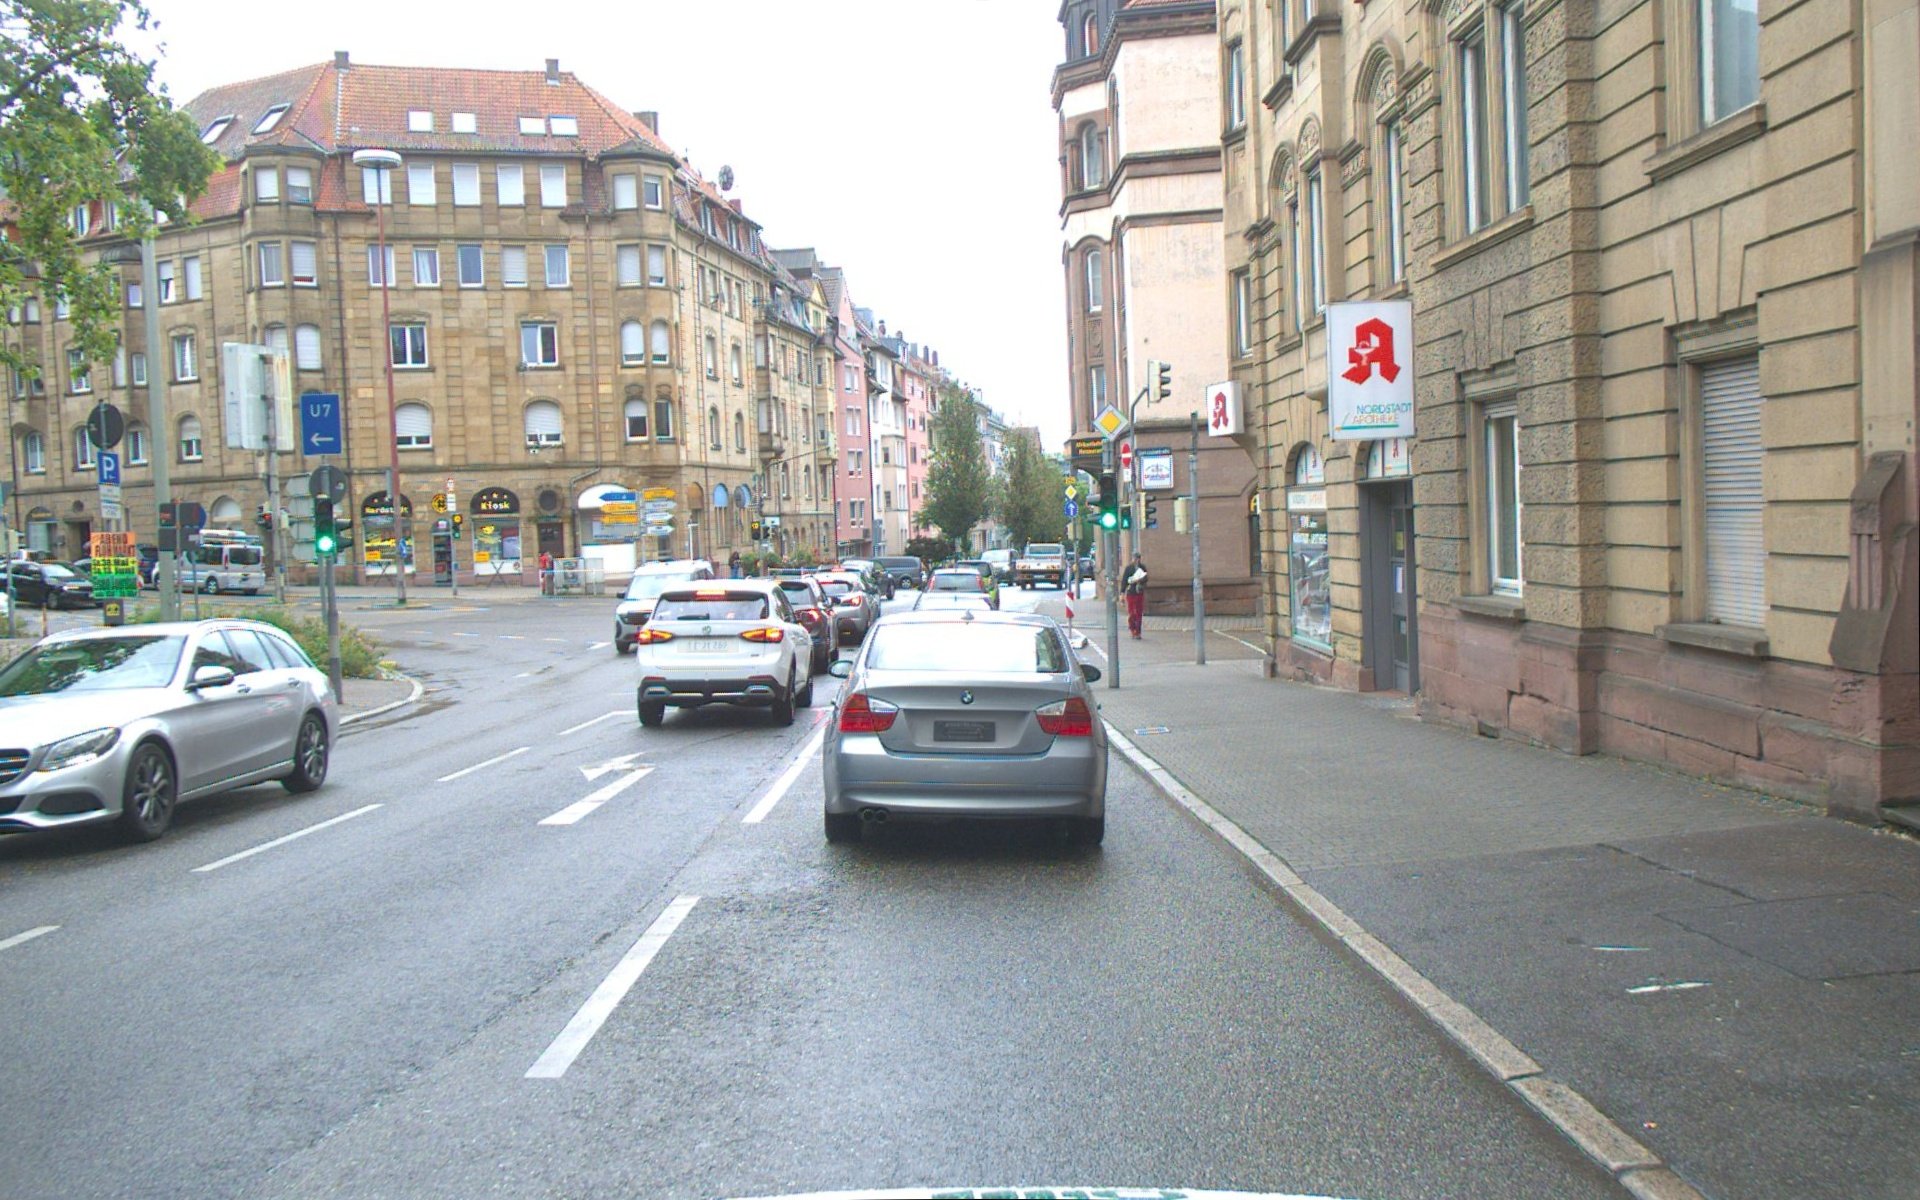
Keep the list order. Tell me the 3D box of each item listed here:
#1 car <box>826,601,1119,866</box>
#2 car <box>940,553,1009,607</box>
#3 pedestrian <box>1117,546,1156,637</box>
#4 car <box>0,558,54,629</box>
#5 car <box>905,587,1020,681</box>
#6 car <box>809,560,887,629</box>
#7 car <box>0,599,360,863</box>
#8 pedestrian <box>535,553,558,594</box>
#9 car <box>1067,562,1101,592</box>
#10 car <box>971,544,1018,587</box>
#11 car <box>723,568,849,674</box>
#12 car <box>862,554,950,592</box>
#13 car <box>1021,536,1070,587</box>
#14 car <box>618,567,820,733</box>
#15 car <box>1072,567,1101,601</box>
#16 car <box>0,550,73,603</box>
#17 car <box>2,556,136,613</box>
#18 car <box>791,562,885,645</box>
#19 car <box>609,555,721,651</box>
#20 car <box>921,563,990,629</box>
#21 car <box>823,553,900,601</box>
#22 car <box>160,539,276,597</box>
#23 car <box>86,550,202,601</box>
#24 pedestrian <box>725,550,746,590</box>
[{"bbox_3d":[0.095,0.730,10.826,1.590,1.407,3.616,0,0,1],"label":"car"},{"bbox_3d":[0.482,-0.624,51.653,1.722,1.594,4.003,0,1,6],"label":"car"},{"bbox_3d":[3.874,-0.189,36.367,0.727,1.943,0.659,-1,0,-1],"label":"pedestrian"},{"bbox_3d":[-29.119,-0.153,49.440,3.914,2.049,1.874,-1,0,32],"label":"car"},{"bbox_3d":[0.076,0.500,26.908,1.723,1.407,4.001,0,0,1],"label":"car"},{"bbox_3d":[-2.907,-0.153,43.632,1.723,1.737,4.001,0,0,1],"label":"car"},{"bbox_3d":[-6.166,0.840,12.340,1.703,1.553,4.471,-4,0,-1],"label":"car"},{"bbox_3d":[-16.423,-1.041,65.697,0.527,1.605,0.717,-2,0,33],"label":"pedestrian"},{"bbox_3d":[6.964,-1.260,93.377,1.689,1.579,4.001,1,0,2],"label":"car"},{"bbox_3d":[1.806,-1.737,85.197,1.951,2.049,4.003,-2,-1,7],"label":"car"},{"bbox_3d":[-2.989,0.323,29.176,1.723,1.737,4.001,0,0,1],"label":"car"},{"bbox_3d":[-3.132,-1.579,97.719,5.071,2.049,2.698,1,-1,-1],"label":"car"},{"bbox_3d":[3.748,-1.680,73.022,1.953,2.143,4.000,0,0,0],"label":"car"},{"bbox_3d":[-2.788,0.505,19.957,1.830,1.653,4.000,-2,2,-1],"label":"car"},{"bbox_3d":[8.098,-1.000,105.741,1.689,2.049,4.002,1,-1,5],"label":"car"},{"bbox_3d":[-39.626,-1.018,69.719,4.197,2.138,1.997,2,2,28],"label":"car"},{"bbox_3d":[-29.144,-0.543,54.092,4.157,1.756,1.996,1,2,31],"label":"car"},{"bbox_3d":[-2.632,0.055,36.484,1.723,1.737,4.001,0,0,1],"label":"car"},{"bbox_3d":[-6.506,0.042,36.890,1.725,1.959,4.323,-1,1,-1],"label":"car"},{"bbox_3d":[-0.067,-0.119,40.066,1.562,1.490,4.001,-1,1,1],"label":"car"},{"bbox_3d":[-3.447,-0.803,58.655,1.805,1.568,4.003,1,-1,11],"label":"car"},{"bbox_3d":[-28.866,-1.268,64.354,4.197,2.138,1.997,2,2,28],"label":"car"},{"bbox_3d":[-31.725,-0.977,64.262,4.197,1.870,1.997,2,2,28],"label":"car"},{"bbox_3d":[-9.317,-1.243,68.716,0.716,1.605,0.528,-1,0,8],"label":"pedestrian"}]
